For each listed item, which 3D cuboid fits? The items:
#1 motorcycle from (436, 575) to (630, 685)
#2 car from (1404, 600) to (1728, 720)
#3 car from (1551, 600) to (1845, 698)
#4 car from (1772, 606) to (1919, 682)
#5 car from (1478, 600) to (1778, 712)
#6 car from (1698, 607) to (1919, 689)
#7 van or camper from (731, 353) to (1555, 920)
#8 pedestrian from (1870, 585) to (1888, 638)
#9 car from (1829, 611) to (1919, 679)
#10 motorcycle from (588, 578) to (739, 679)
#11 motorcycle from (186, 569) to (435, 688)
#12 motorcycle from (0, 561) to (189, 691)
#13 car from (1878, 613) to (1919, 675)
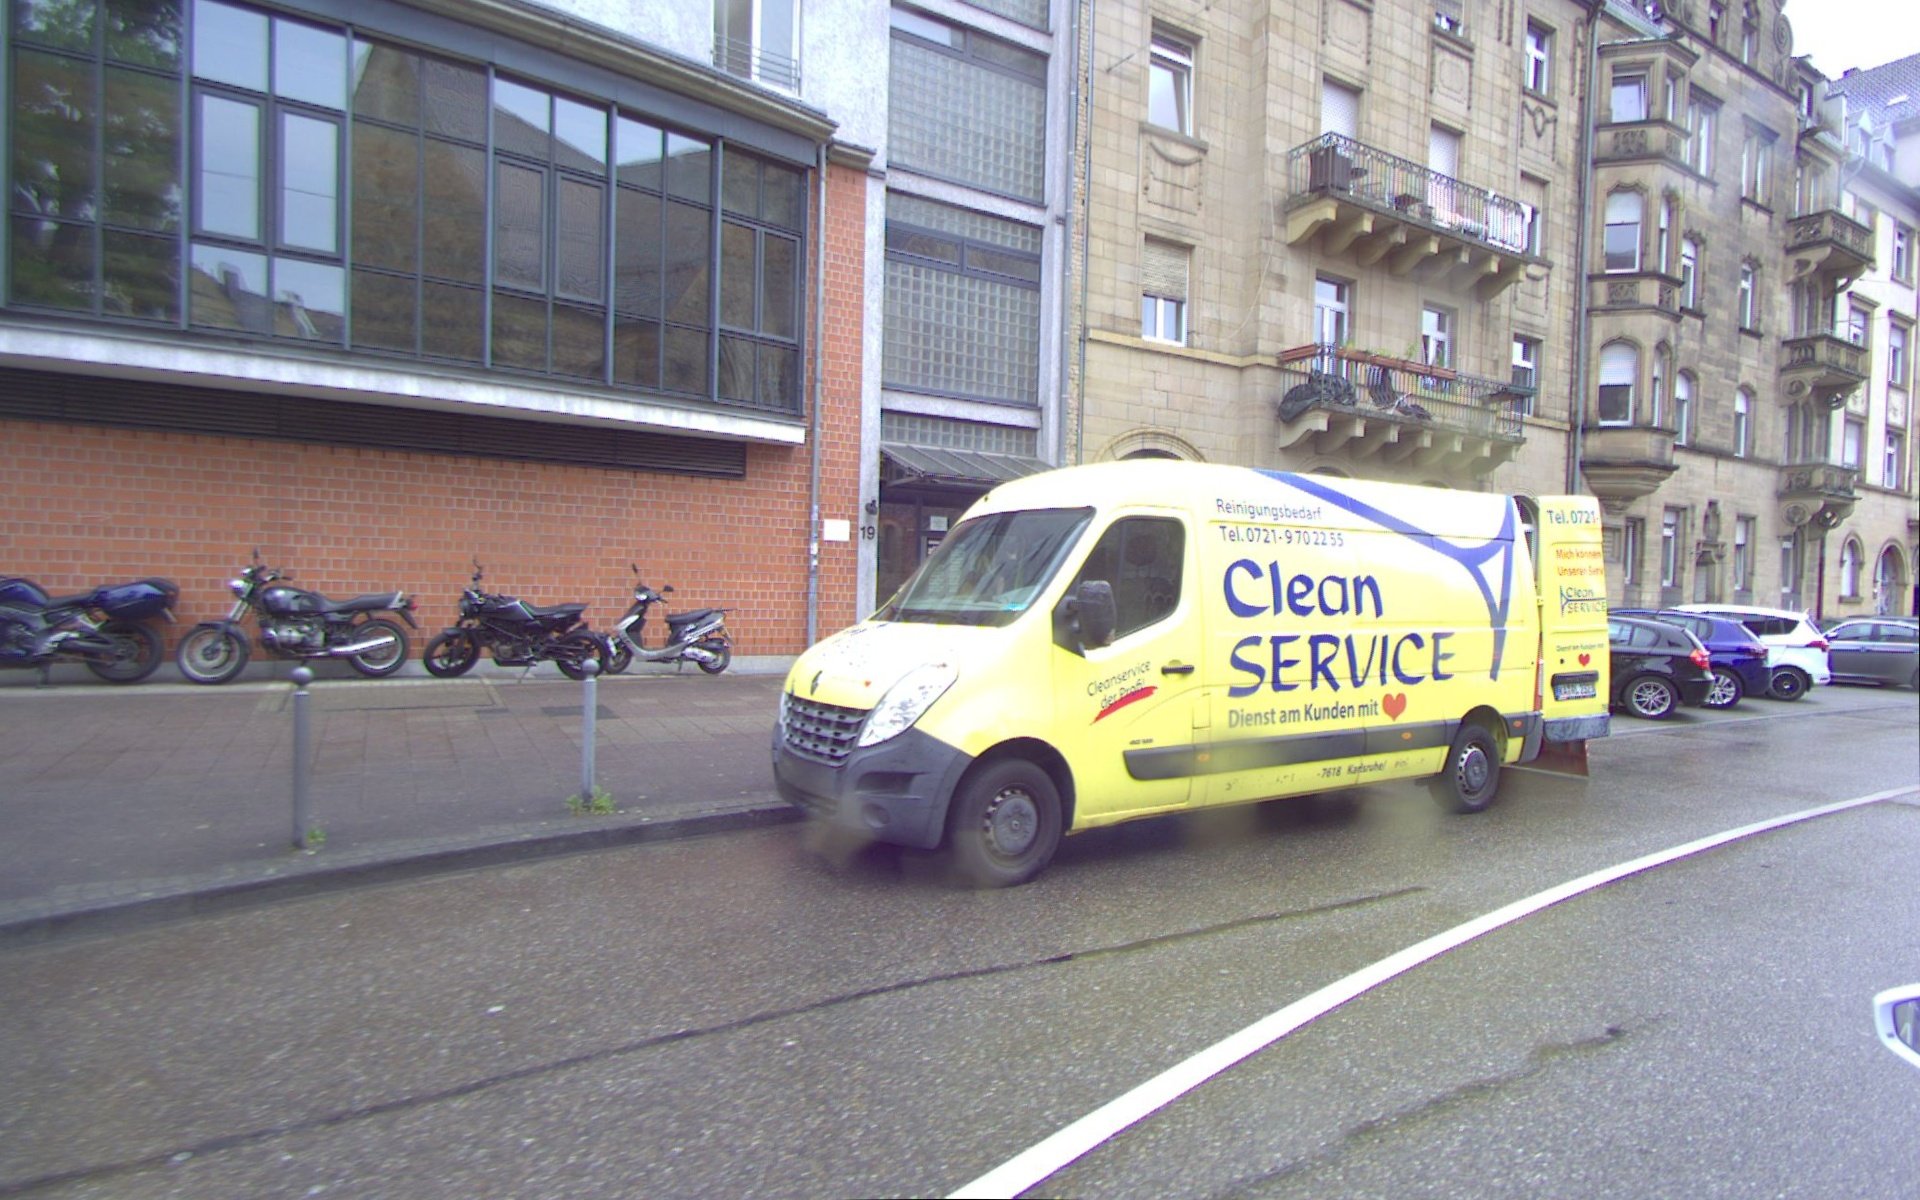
[{"bbox_3d":[-4.876,0.339,11.575,1.968,1.197,0.524,2,2,-11],"label":"motorcycle"},{"bbox_3d":[9.035,0.816,15.256,3.973,1.532,1.794,1,0,32],"label":"car"},{"bbox_3d":[13.338,0.833,18.453,3.964,1.576,1.798,1,0,21],"label":"car"},{"bbox_3d":[21.259,1.008,23.230,3.485,1.619,1.605,2,1,22],"label":"car"},{"bbox_3d":[11.029,0.851,16.879,3.973,1.594,1.794,1,0,32],"label":"car"},{"bbox_3d":[18.818,1.007,21.546,4.458,1.566,1.689,2,1,18],"label":"car"},{"bbox_3d":[1.568,0.215,7.194,5.876,2.646,2.184,1,0,-32],"label":"van or camper"},{"bbox_3d":[32.649,0.407,35.693,0.343,1.847,0.364,2,0,-31],"label":"pedestrian"},{"bbox_3d":[23.823,1.111,24.674,3.337,1.579,1.652,2,1,22],"label":"car"},{"bbox_3d":[-3.665,0.353,12.518,1.726,1.197,0.524,2,2,-11],"label":"motorcycle"},{"bbox_3d":[-6.907,0.289,10.808,2.181,1.172,0.646,1,2,-32],"label":"motorcycle"},{"bbox_3d":[-8.801,0.230,9.516,2.245,1.172,0.833,1,2,-29],"label":"motorcycle"},{"bbox_3d":[26.425,1.182,26.116,3.337,1.579,1.705,2,1,22],"label":"car"}]
